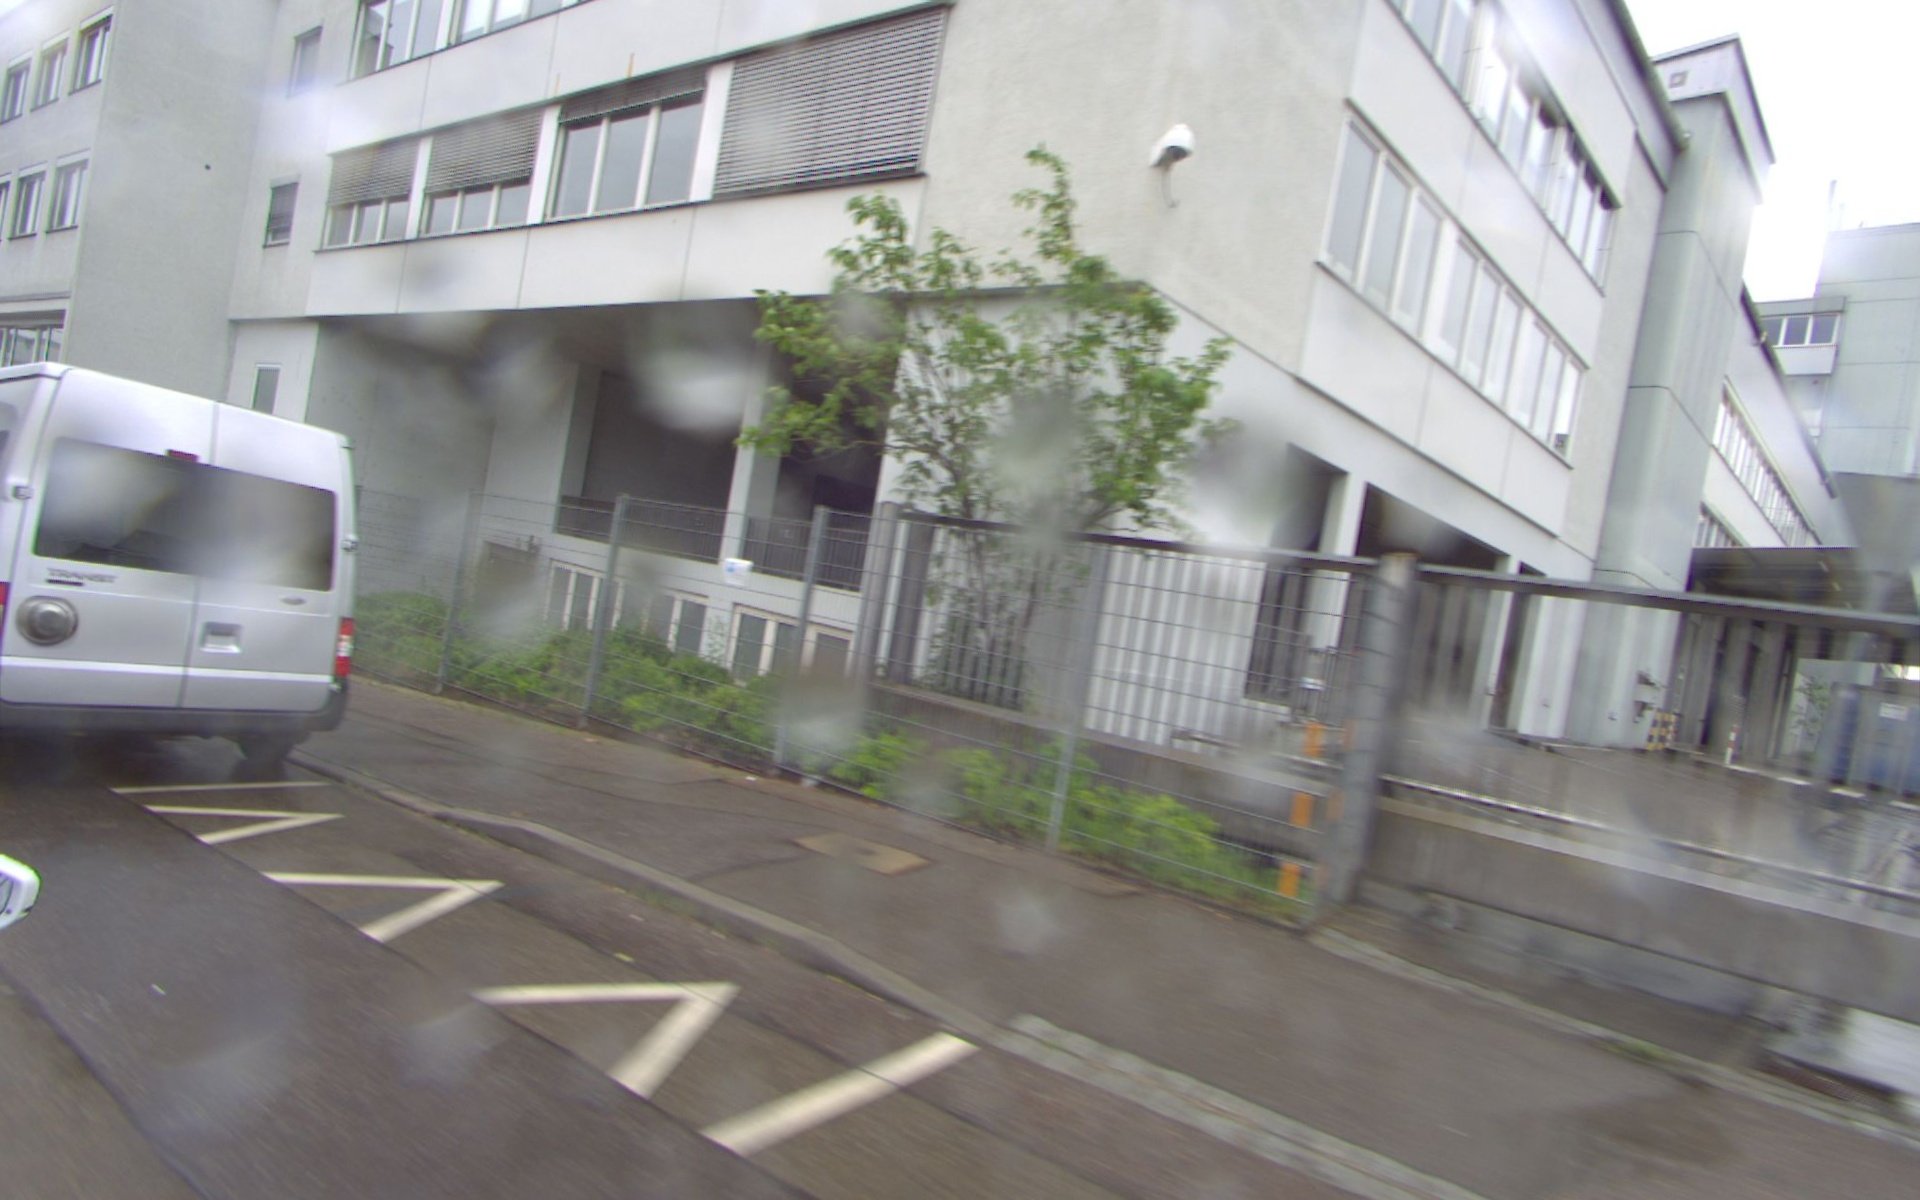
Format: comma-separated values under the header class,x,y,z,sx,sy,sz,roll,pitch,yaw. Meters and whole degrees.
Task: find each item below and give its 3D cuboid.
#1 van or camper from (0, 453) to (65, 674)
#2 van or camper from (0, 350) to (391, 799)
class,x,y,z,sx,sy,sz,roll,pitch,yaw
van or camper,-11.809,-0.639,10.750,5.119,2.139,1.995,7,0,34
van or camper,-6.627,-0.291,7.292,5.353,2.270,1.995,7,0,34
